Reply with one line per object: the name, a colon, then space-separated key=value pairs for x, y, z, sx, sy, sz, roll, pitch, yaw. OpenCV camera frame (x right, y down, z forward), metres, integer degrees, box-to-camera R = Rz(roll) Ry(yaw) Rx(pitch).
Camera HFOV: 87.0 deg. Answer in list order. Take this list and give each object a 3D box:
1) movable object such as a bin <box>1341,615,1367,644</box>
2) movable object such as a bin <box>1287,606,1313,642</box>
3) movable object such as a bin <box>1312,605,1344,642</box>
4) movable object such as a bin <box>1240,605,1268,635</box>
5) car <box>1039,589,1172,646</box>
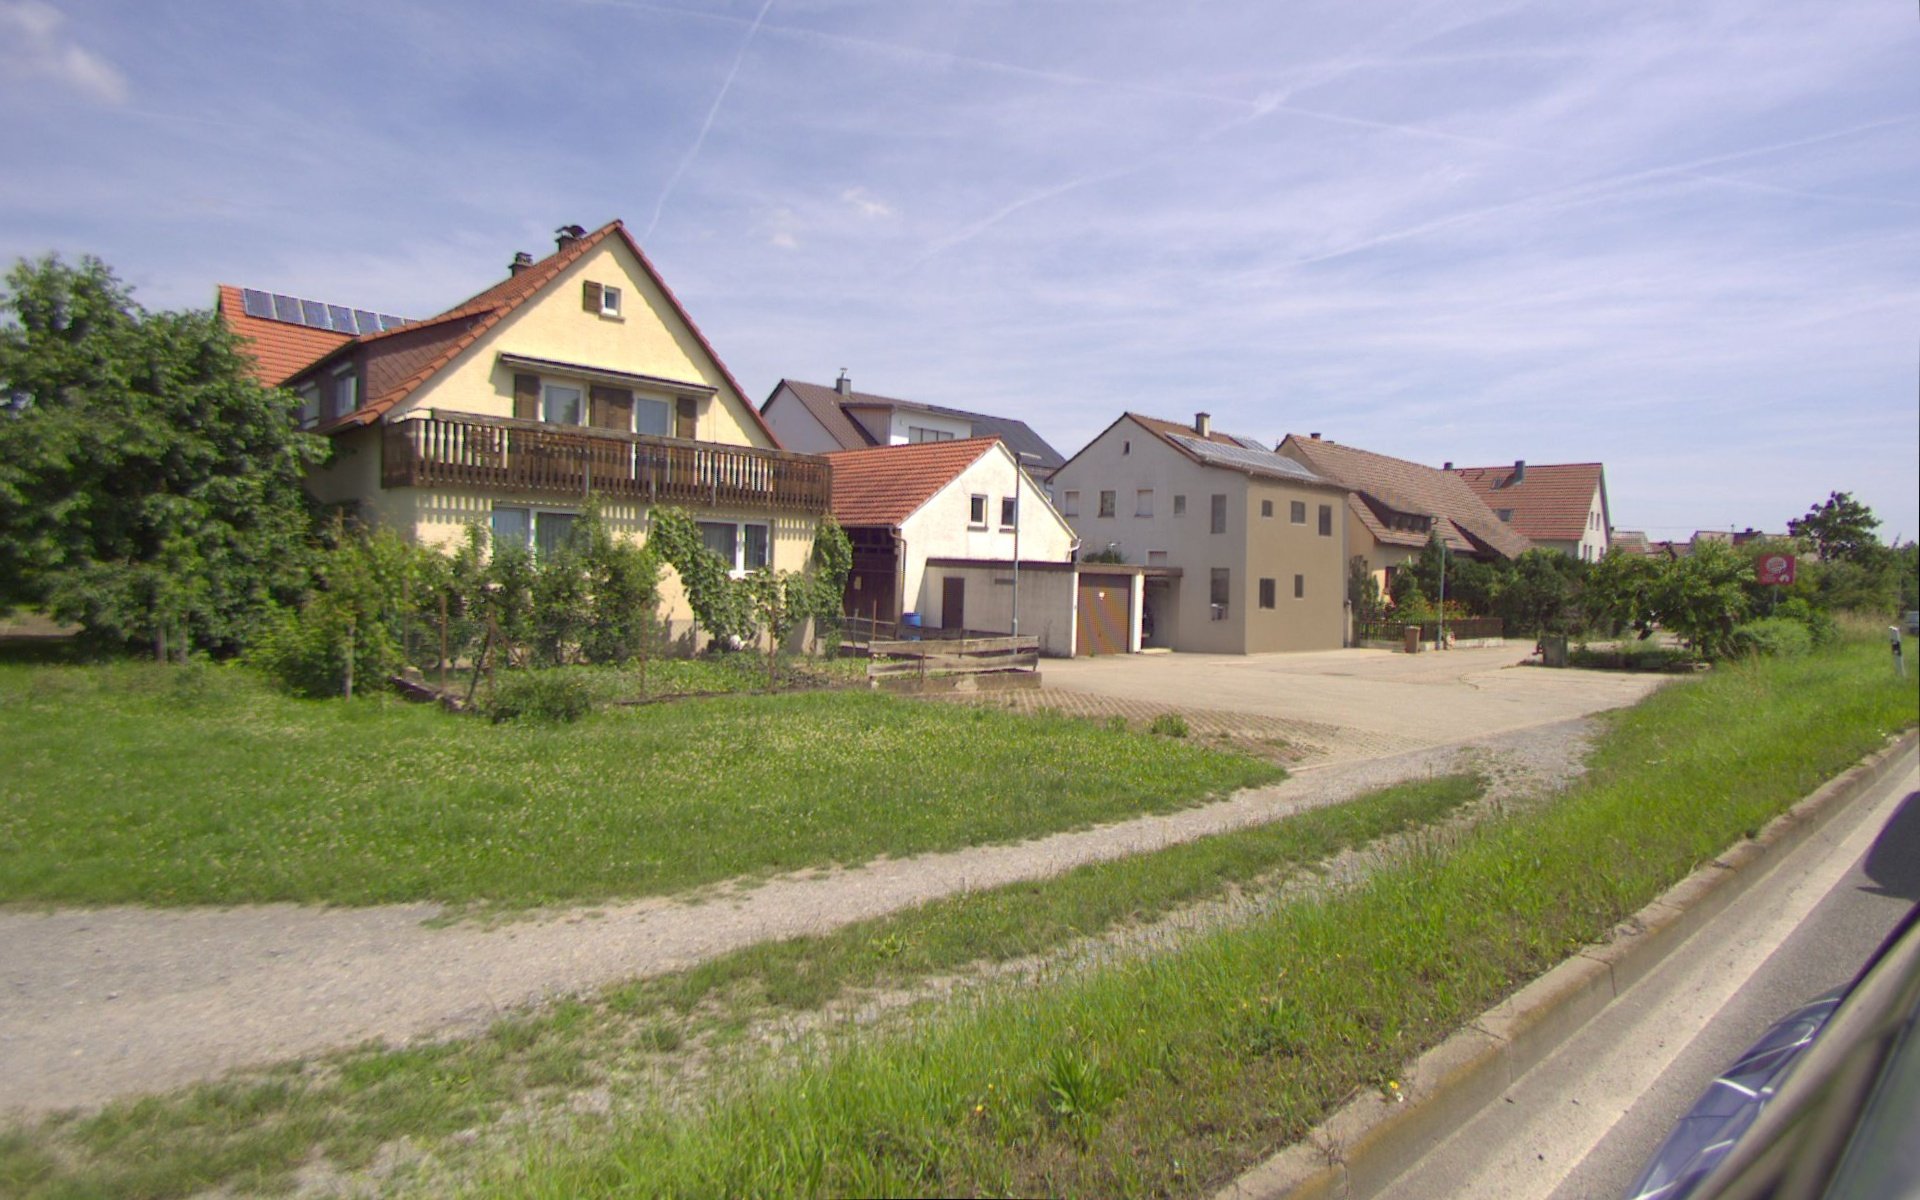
movable object such as a bin: x=14.631 y=1.076 z=37.564 sx=0.743 sy=1.040 sz=0.645 roll=1 pitch=0 yaw=-42
movable object such as a bin: x=13.260 y=0.922 z=39.479 sx=0.806 sy=1.355 sz=0.677 roll=1 pitch=0 yaw=-42
movable object such as a bin: x=13.914 y=0.874 z=38.266 sx=0.930 sy=1.387 sz=0.764 roll=1 pitch=0 yaw=-42
movable object such as a bin: x=11.829 y=0.783 z=40.719 sx=0.816 sy=1.171 sz=0.739 roll=1 pitch=0 yaw=-42
car: x=4.571 y=0.517 z=32.152 sx=1.794 sy=1.624 sz=3.995 roll=1 pitch=1 yaw=-40
